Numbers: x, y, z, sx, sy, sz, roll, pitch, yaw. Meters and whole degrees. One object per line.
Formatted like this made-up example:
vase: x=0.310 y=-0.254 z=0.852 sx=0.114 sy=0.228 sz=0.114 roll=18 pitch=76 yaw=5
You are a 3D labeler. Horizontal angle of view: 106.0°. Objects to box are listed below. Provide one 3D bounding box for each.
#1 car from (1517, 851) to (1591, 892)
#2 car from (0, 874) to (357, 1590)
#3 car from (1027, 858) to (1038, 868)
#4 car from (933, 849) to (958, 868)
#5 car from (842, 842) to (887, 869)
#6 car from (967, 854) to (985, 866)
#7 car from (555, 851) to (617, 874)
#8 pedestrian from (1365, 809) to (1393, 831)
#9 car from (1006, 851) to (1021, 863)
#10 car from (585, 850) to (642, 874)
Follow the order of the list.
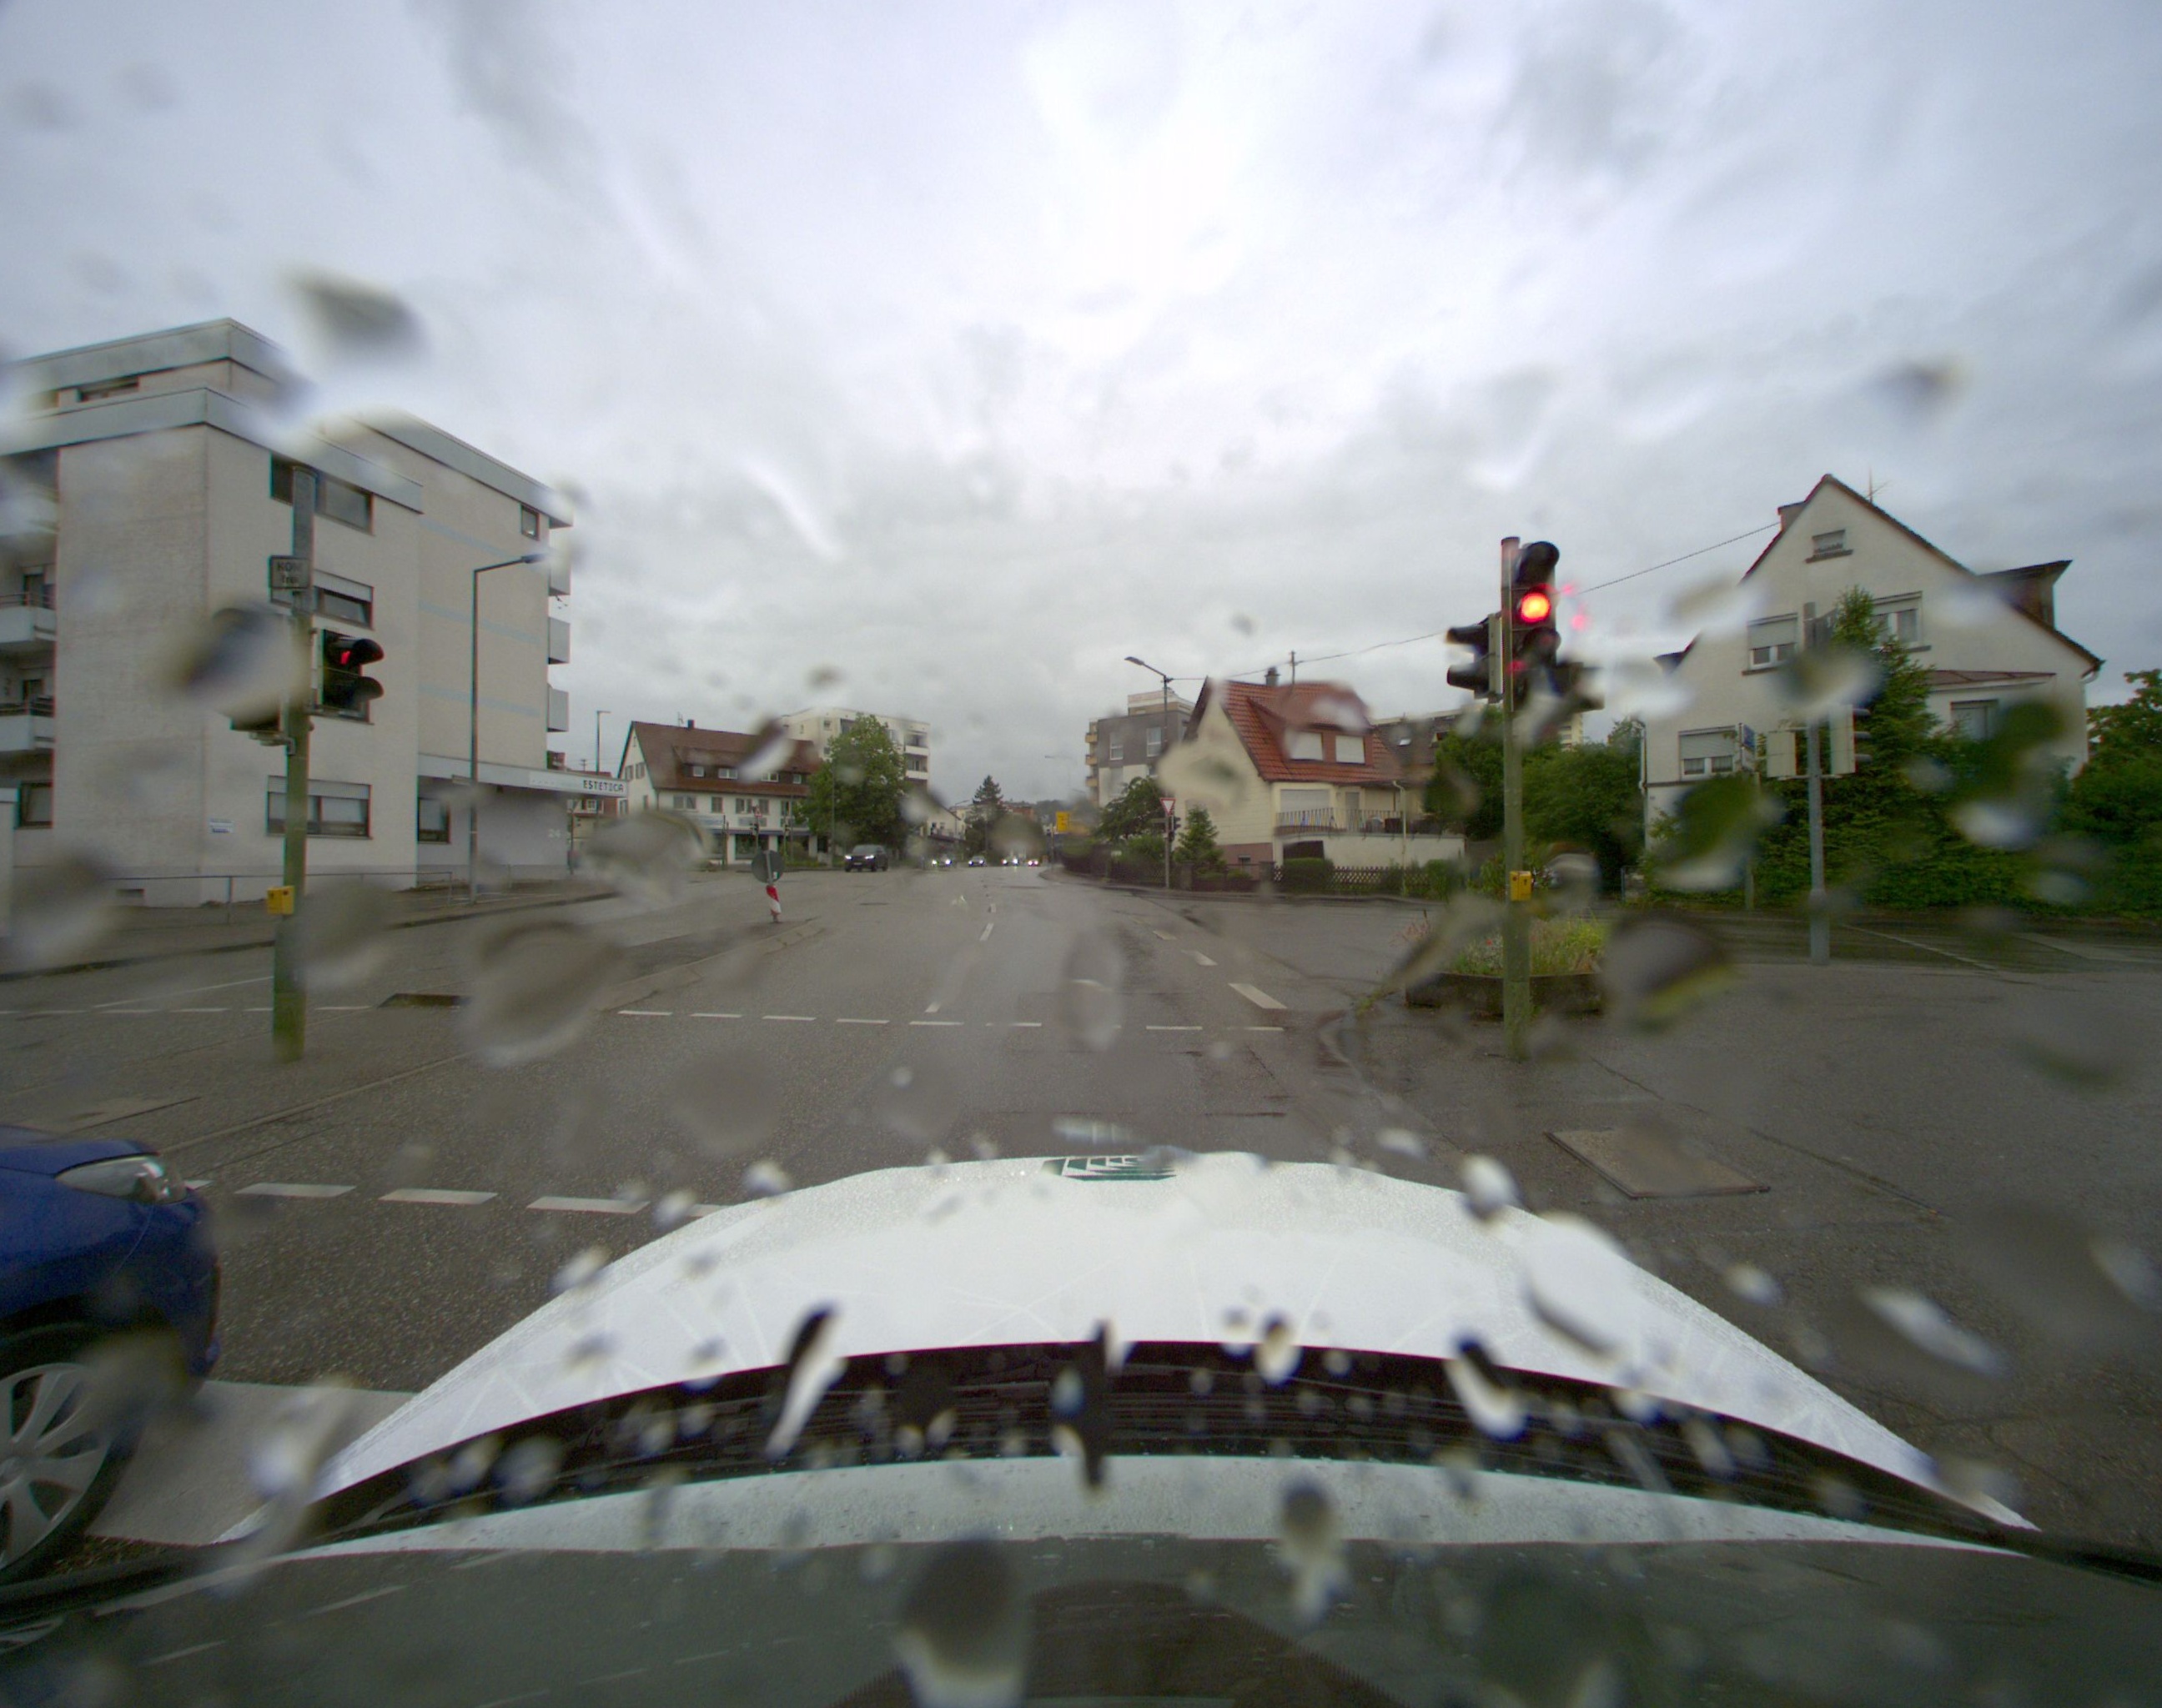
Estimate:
car: x=17.110 y=0.594 z=29.388 sx=1.794 sy=1.362 sz=4.025 roll=-1 pitch=-1 yaw=37
car: x=-2.950 y=0.778 z=0.740 sx=1.499 sy=1.413 sz=3.365 roll=0 pitch=0 yaw=2
car: x=-8.815 y=1.579 z=149.259 sx=1.989 sy=1.812 sz=3.996 roll=0 pitch=-1 yaw=-3
car: x=-13.542 y=0.447 z=81.466 sx=1.989 sy=1.904 sz=3.996 roll=0 pitch=-1 yaw=-3
car: x=-14.559 y=0.095 z=55.062 sx=1.990 sy=1.737 sz=5.173 roll=0 pitch=-1 yaw=-4
car: x=-13.174 y=0.803 z=102.514 sx=1.989 sy=1.463 sz=3.996 roll=0 pitch=-1 yaw=-3
car: x=-41.221 y=0.678 z=67.813 sx=4.093 sy=1.843 sz=1.864 roll=0 pitch=-1 yaw=-44
pedestrian: x=12.769 y=-1.436 z=34.873 sx=0.918 sy=0.883 sz=0.632 roll=0 pitch=-3 yaw=-18
car: x=-9.287 y=0.445 z=112.198 sx=1.989 sy=1.679 sz=3.996 roll=0 pitch=-1 yaw=-3
car: x=-38.447 y=0.638 z=66.990 sx=3.706 sy=1.920 sz=1.864 roll=0 pitch=-1 yaw=-44
